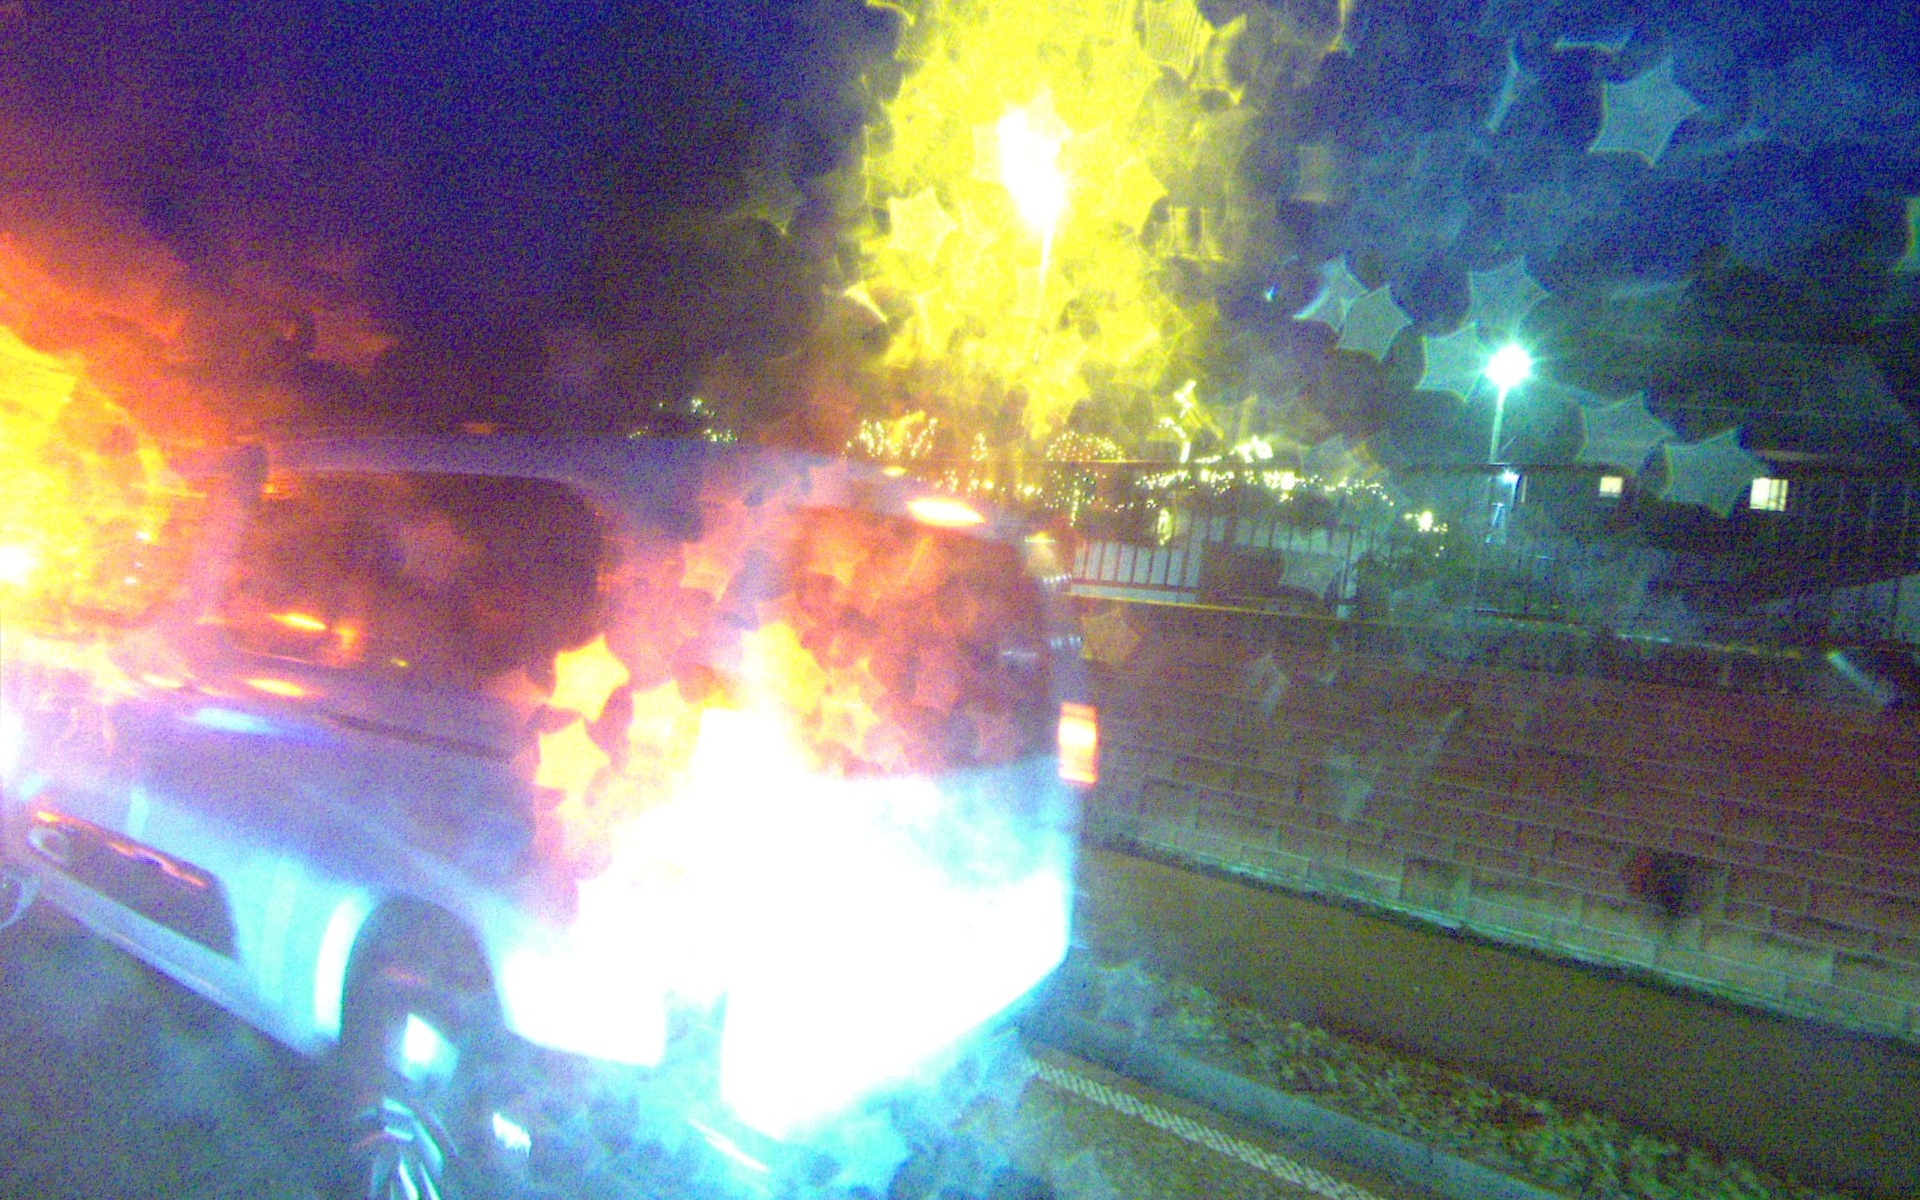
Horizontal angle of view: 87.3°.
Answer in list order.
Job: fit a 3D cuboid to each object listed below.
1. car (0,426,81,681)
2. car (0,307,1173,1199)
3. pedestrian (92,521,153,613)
[{"bbox_3d":[-9.836,-0.615,8.822,3.934,2.070,1.972,6,-2,32],"label":"car"},{"bbox_3d":[-1.716,0.371,3.501,4.269,1.886,1.855,6,-2,32],"label":"car"},{"bbox_3d":[-16.660,-0.656,20.022,0.532,1.721,0.624,7,-1,29],"label":"pedestrian"}]
